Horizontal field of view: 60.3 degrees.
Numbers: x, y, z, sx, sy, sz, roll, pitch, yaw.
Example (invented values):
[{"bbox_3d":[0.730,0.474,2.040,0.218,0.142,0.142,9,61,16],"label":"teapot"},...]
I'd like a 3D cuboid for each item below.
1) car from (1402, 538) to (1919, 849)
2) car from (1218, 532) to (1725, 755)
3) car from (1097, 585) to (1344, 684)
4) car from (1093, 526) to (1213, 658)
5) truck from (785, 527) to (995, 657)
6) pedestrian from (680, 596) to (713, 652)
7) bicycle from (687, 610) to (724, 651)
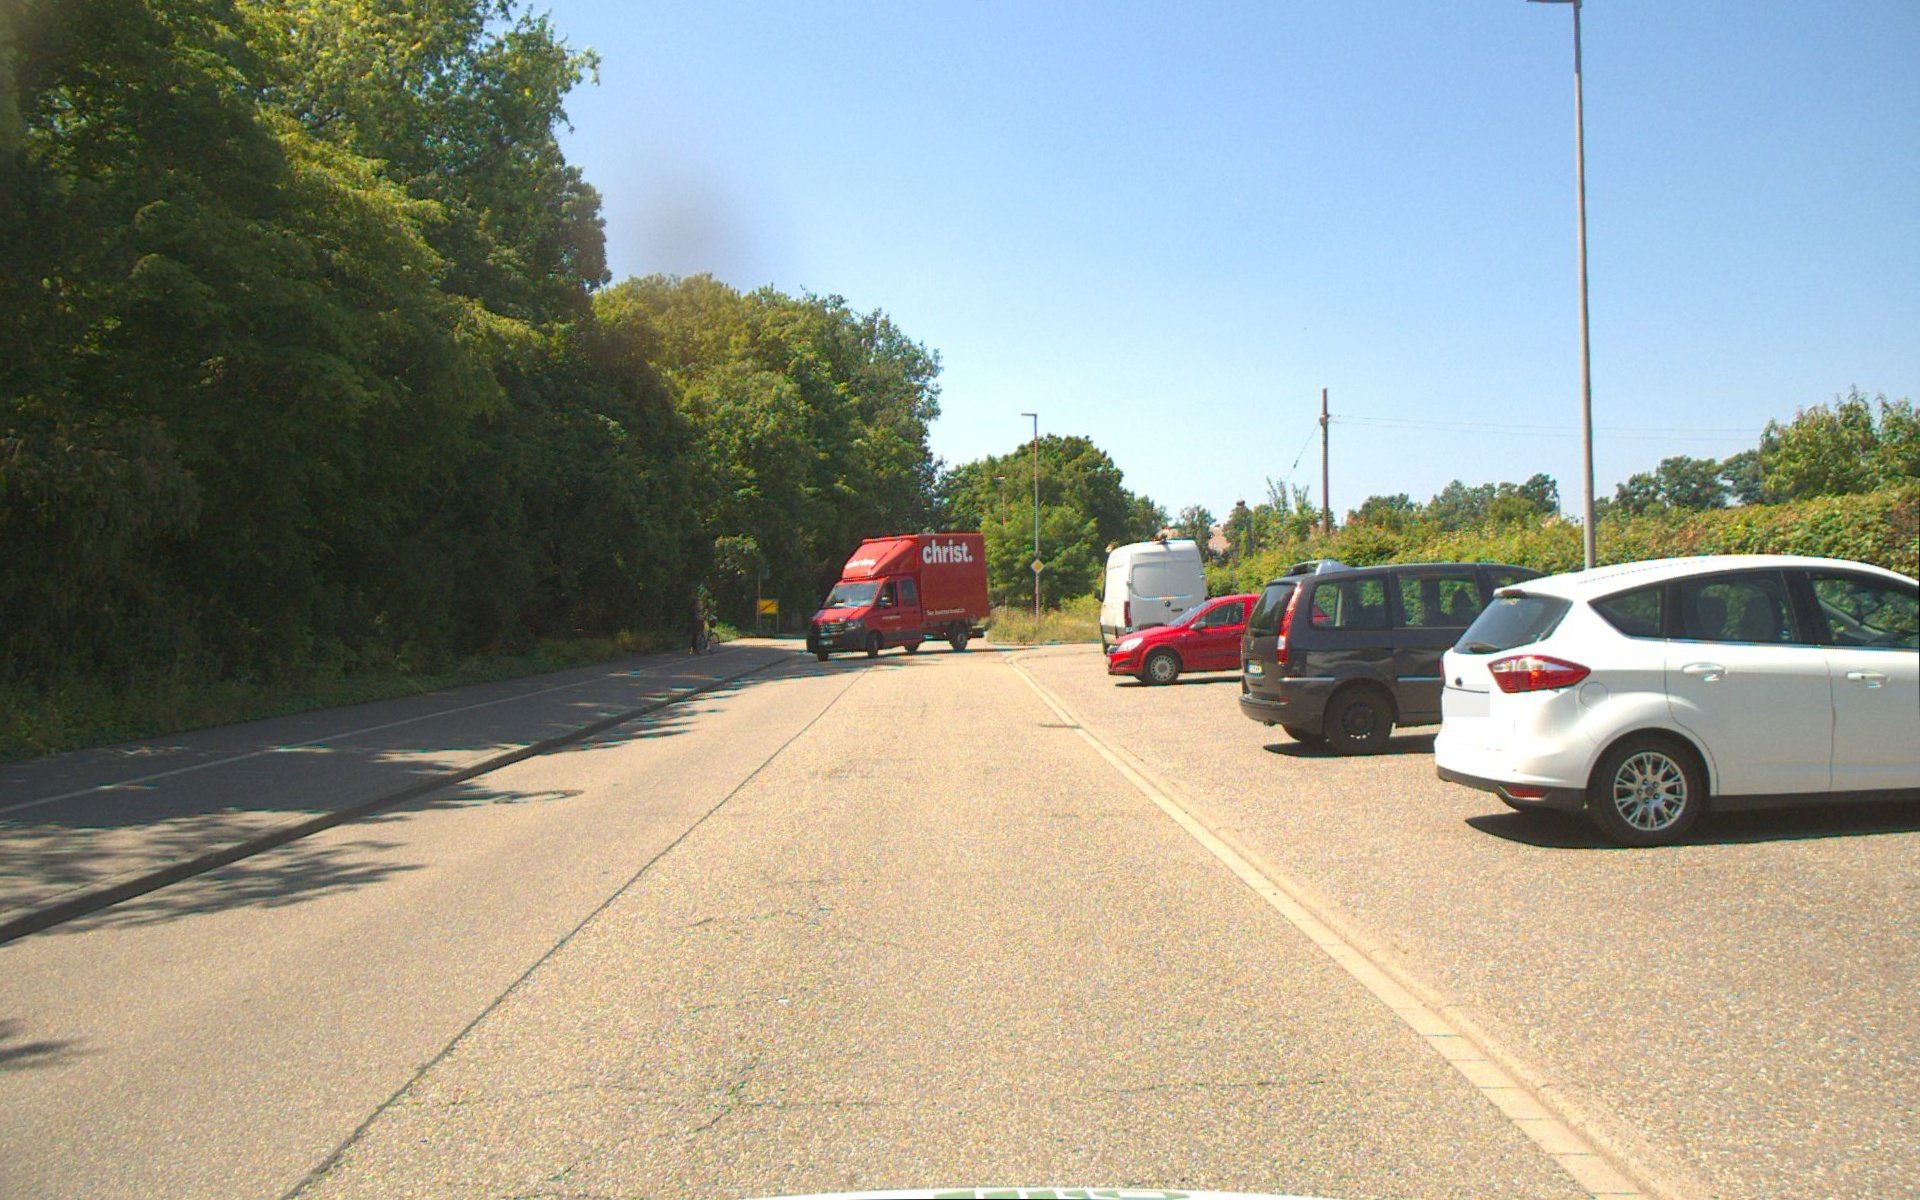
[{"bbox_3d":[5.136,0.473,10.322,4.191,1.605,1.764,-3,0,-3],"label":"car"},{"bbox_3d":[5.002,0.406,16.554,4.367,1.836,1.950,-3,0,-6],"label":"car"},{"bbox_3d":[4.568,0.587,29.386,3.974,1.459,1.834,-3,0,-4],"label":"car"},{"bbox_3d":[4.519,-0.190,39.878,1.914,2.781,7.167,-3,0,0],"label":"car"},{"bbox_3d":[-1.908,-0.324,48.478,2.282,3.500,7.140,-2,1,34],"label":"truck"},{"bbox_3d":[-8.318,0.747,52.285,0.791,1.748,0.777,0,0,15],"label":"pedestrian"},{"bbox_3d":[-8.024,0.960,52.171,0.510,1.258,1.962,0,-1,11],"label":"bicycle"}]
